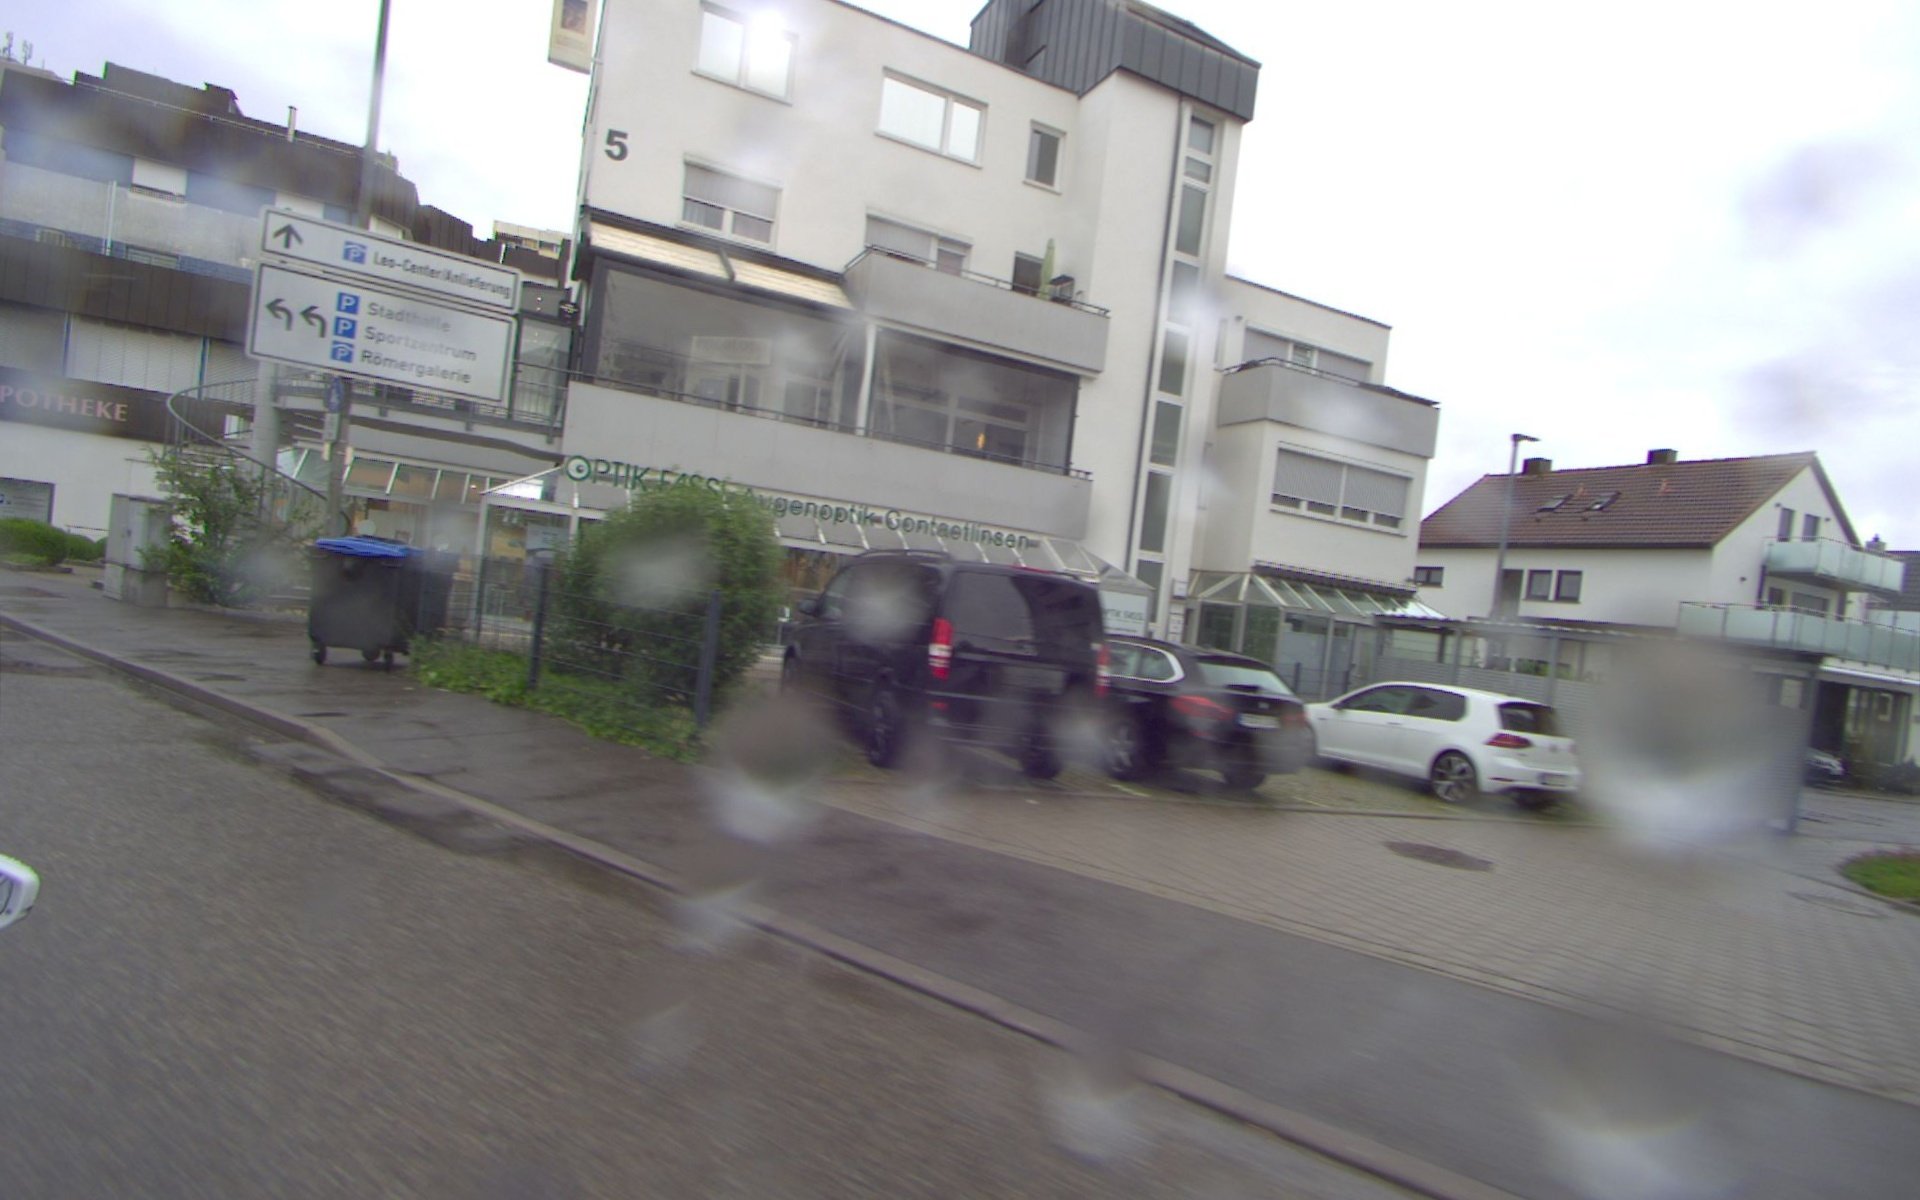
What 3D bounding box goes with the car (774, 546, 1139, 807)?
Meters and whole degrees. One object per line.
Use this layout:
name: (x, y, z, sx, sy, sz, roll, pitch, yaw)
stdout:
car: (-0.367, 0.576, 10.583, 1.973, 2.039, 4.752, 6, 1, -23)
